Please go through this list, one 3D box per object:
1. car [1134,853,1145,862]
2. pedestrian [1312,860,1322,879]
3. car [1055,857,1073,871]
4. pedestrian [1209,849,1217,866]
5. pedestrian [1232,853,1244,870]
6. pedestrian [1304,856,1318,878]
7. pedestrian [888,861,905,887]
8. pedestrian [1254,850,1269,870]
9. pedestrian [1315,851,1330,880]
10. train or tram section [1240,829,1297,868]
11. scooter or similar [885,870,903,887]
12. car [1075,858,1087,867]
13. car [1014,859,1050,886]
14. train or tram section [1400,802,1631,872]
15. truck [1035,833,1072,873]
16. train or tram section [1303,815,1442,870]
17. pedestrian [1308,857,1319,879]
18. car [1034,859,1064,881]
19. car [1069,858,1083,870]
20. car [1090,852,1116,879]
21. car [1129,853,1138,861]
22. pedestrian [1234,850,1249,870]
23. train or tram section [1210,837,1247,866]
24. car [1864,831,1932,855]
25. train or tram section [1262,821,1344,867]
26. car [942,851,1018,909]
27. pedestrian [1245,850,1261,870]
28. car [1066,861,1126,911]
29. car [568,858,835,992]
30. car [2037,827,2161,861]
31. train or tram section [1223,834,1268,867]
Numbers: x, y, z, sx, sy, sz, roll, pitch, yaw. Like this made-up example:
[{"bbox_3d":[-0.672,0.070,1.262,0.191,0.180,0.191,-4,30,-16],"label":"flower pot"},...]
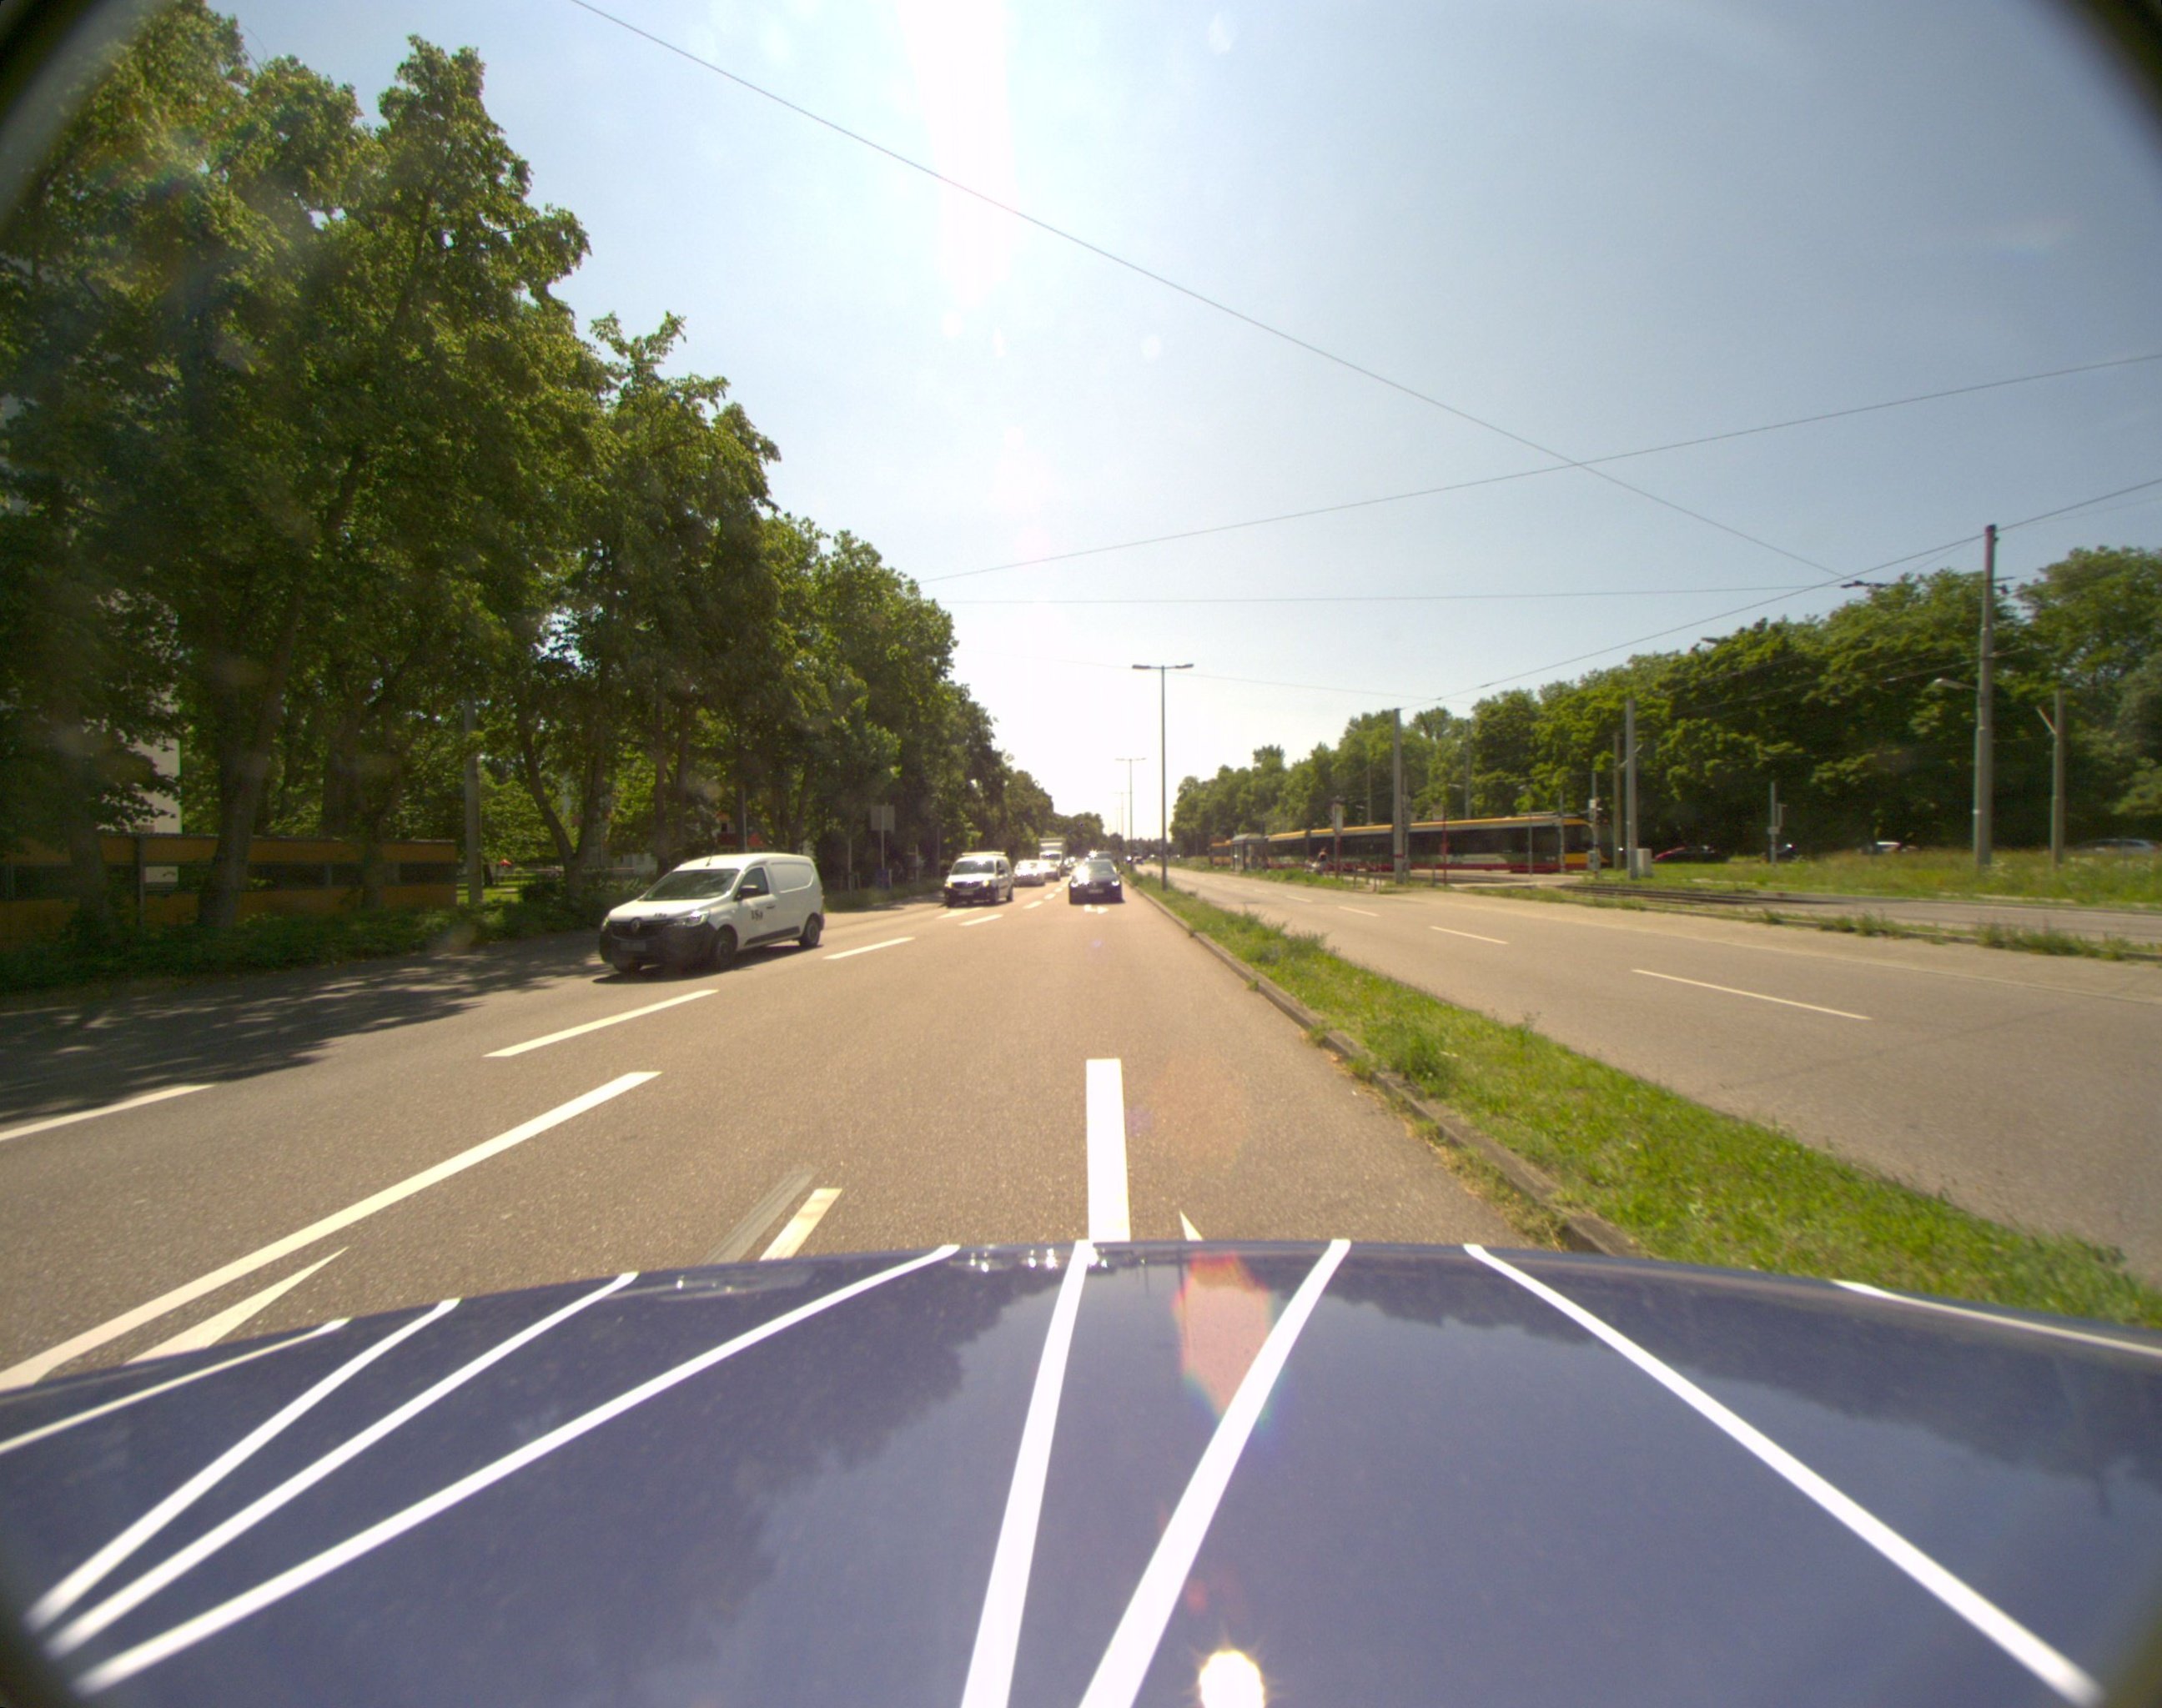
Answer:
[{"bbox_3d":[10.802,0.609,140.481,1.774,1.496,3.719,-2,0,0],"label":"car"},{"bbox_3d":[13.160,0.844,42.351,0.383,1.052,0.377,-3,0,0],"label":"pedestrian"},{"bbox_3d":[-1.817,1.051,82.917,1.746,1.382,3.888,-2,0,2],"label":"car"},{"bbox_3d":[14.087,0.384,80.961,0.633,1.780,0.776,-3,0,0],"label":"pedestrian"},{"bbox_3d":[12.592,0.594,60.847,0.703,1.276,0.840,-3,0,-1],"label":"pedestrian"},{"bbox_3d":[13.063,0.746,43.192,0.582,1.182,0.536,-3,0,-1],"label":"pedestrian"},{"bbox_3d":[-10.404,1.115,42.892,0.710,1.390,0.763,-3,0,2],"label":"pedestrian"},{"bbox_3d":[13.672,0.474,57.663,0.836,1.499,0.879,-3,0,-1],"label":"pedestrian"},{"bbox_3d":[13.300,0.649,41.855,0.536,1.556,0.582,-3,0,0],"label":"pedestrian"},{"bbox_3d":[20.139,-0.522,82.675,3.051,3.745,13.262,-3,0,2],"label":"train or tram section"},{"bbox_3d":[-10.415,1.366,42.326,0.710,0.888,0.763,-3,0,2],"label":"scooter or similar"},{"bbox_3d":[0.029,1.317,121.613,1.746,1.382,3.888,-2,0,2],"label":"car"},{"bbox_3d":[-2.802,1.040,44.015,1.626,1.432,3.499,-3,0,3],"label":"car"},{"bbox_3d":[25.573,-0.816,45.994,3.057,3.603,12.427,-3,0,-26],"label":"train or tram section"},{"bbox_3d":[-2.341,-0.045,66.666,2.489,3.276,6.606,-1,0,3],"label":"truck"},{"bbox_3d":[21.326,-0.689,56.977,3.055,3.603,12.437,-3,0,-14],"label":"train or tram section"},{"bbox_3d":[13.072,0.777,42.703,0.495,1.182,0.400,-3,0,2],"label":"pedestrian"},{"bbox_3d":[-2.150,1.069,52.295,1.618,1.373,4.115,-3,0,3],"label":"car"},{"bbox_3d":[-0.655,1.252,98.524,1.618,1.373,4.115,-3,0,3],"label":"car"},{"bbox_3d":[1.549,0.783,53.709,1.746,1.840,3.888,-2,0,2],"label":"car"},{"bbox_3d":[11.492,0.640,166.459,1.773,1.496,3.720,-1,0,2],"label":"car"},{"bbox_3d":[12.588,0.467,59.674,0.876,1.537,1.026,-3,0,-1],"label":"pedestrian"},{"bbox_3d":[20.717,-0.347,107.532,2.957,3.833,11.541,-3,0,1],"label":"train or tram section"},{"bbox_3d":[59.729,-0.767,55.615,1.389,1.586,3.069,-3,0,-12],"label":"car"},{"bbox_3d":[19.813,-0.793,69.137,3.051,3.603,13.896,-3,0,-1],"label":"train or tram section"},{"bbox_3d":[-3.556,0.867,27.753,1.809,1.845,5.083,-3,0,3],"label":"car"},{"bbox_3d":[13.240,0.454,58.613,0.933,1.537,0.985,-3,0,-1],"label":"pedestrian"},{"bbox_3d":[0.513,0.989,24.837,1.746,1.382,3.888,-3,0,2],"label":"car"},{"bbox_3d":[-5.961,1.002,12.662,1.713,1.737,4.429,-3,0,7],"label":"car"},{"bbox_3d":[56.813,-0.520,42.305,2.001,1.718,3.994,-3,0,-17],"label":"car"},{"bbox_3d":[20.494,-0.371,95.628,3.051,3.719,12.596,-3,0,1],"label":"train or tram section"}]
